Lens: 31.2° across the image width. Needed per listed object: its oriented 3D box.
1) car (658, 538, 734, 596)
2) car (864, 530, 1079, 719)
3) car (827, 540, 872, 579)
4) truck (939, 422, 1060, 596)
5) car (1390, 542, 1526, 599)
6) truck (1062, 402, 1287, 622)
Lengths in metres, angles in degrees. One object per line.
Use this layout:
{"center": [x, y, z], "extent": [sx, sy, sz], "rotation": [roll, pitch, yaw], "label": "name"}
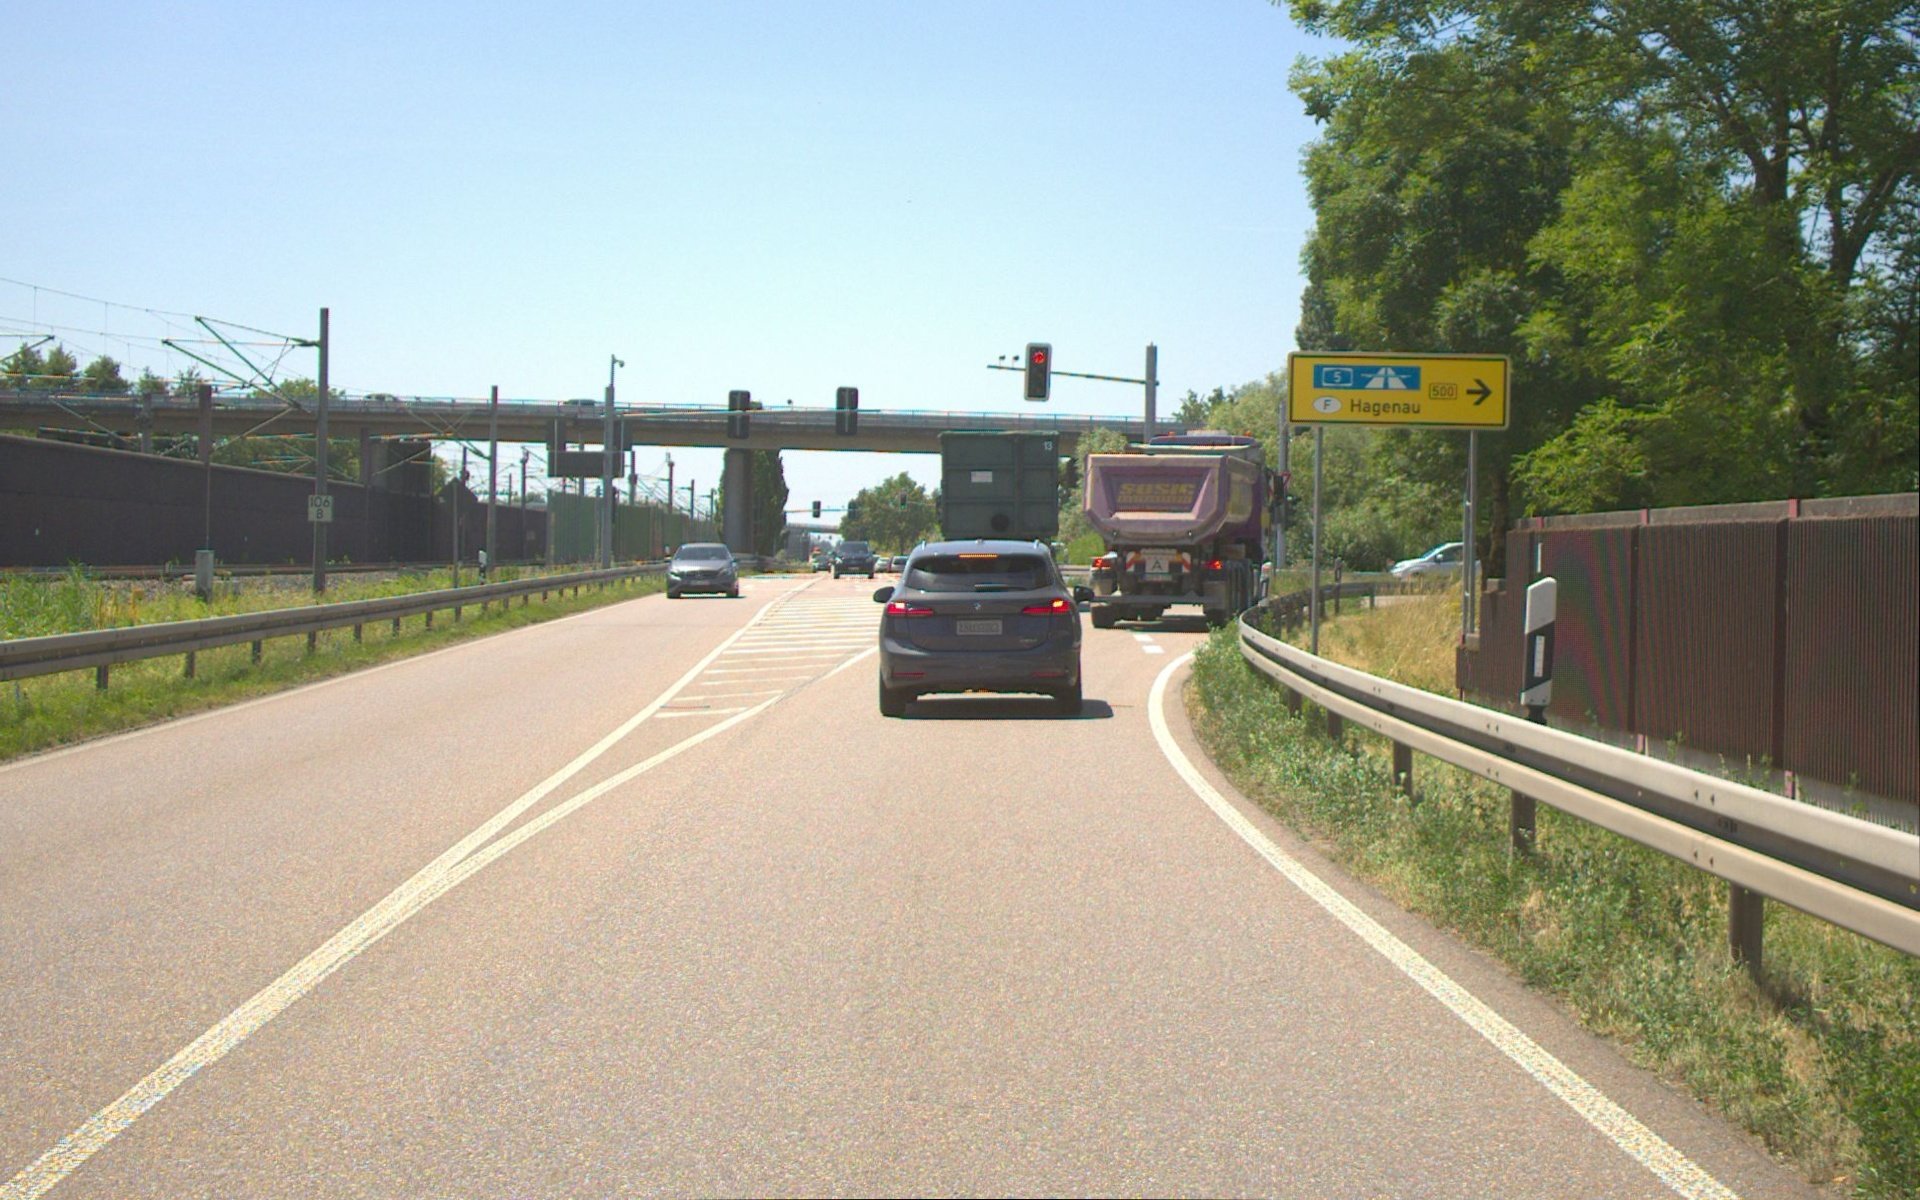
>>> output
{"center": [-6.980, -0.888, 91.224], "extent": [1.864, 1.480, 4.888], "rotation": [0, 1, -3], "label": "car"}
{"center": [0.106, 0.181, 31.844], "extent": [1.844, 1.617, 4.226], "rotation": [0, 1, 0], "label": "car"}
{"center": [-5.339, -1.966, 166.325], "extent": [1.927, 1.761, 4.598], "rotation": [1, 2, 1], "label": "car"}
{"center": [0.851, -2.058, 78.663], "extent": [2.589, 3.724, 9.575], "rotation": [0, 1, 0], "label": "truck"}
{"center": [14.535, -0.858, 100.409], "extent": [3.706, 1.626, 1.734], "rotation": [0, 1, 0], "label": "car"}
{"center": [4.277, -1.610, 65.545], "extent": [2.835, 3.808, 11.880], "rotation": [1, 1, 11], "label": "truck"}
